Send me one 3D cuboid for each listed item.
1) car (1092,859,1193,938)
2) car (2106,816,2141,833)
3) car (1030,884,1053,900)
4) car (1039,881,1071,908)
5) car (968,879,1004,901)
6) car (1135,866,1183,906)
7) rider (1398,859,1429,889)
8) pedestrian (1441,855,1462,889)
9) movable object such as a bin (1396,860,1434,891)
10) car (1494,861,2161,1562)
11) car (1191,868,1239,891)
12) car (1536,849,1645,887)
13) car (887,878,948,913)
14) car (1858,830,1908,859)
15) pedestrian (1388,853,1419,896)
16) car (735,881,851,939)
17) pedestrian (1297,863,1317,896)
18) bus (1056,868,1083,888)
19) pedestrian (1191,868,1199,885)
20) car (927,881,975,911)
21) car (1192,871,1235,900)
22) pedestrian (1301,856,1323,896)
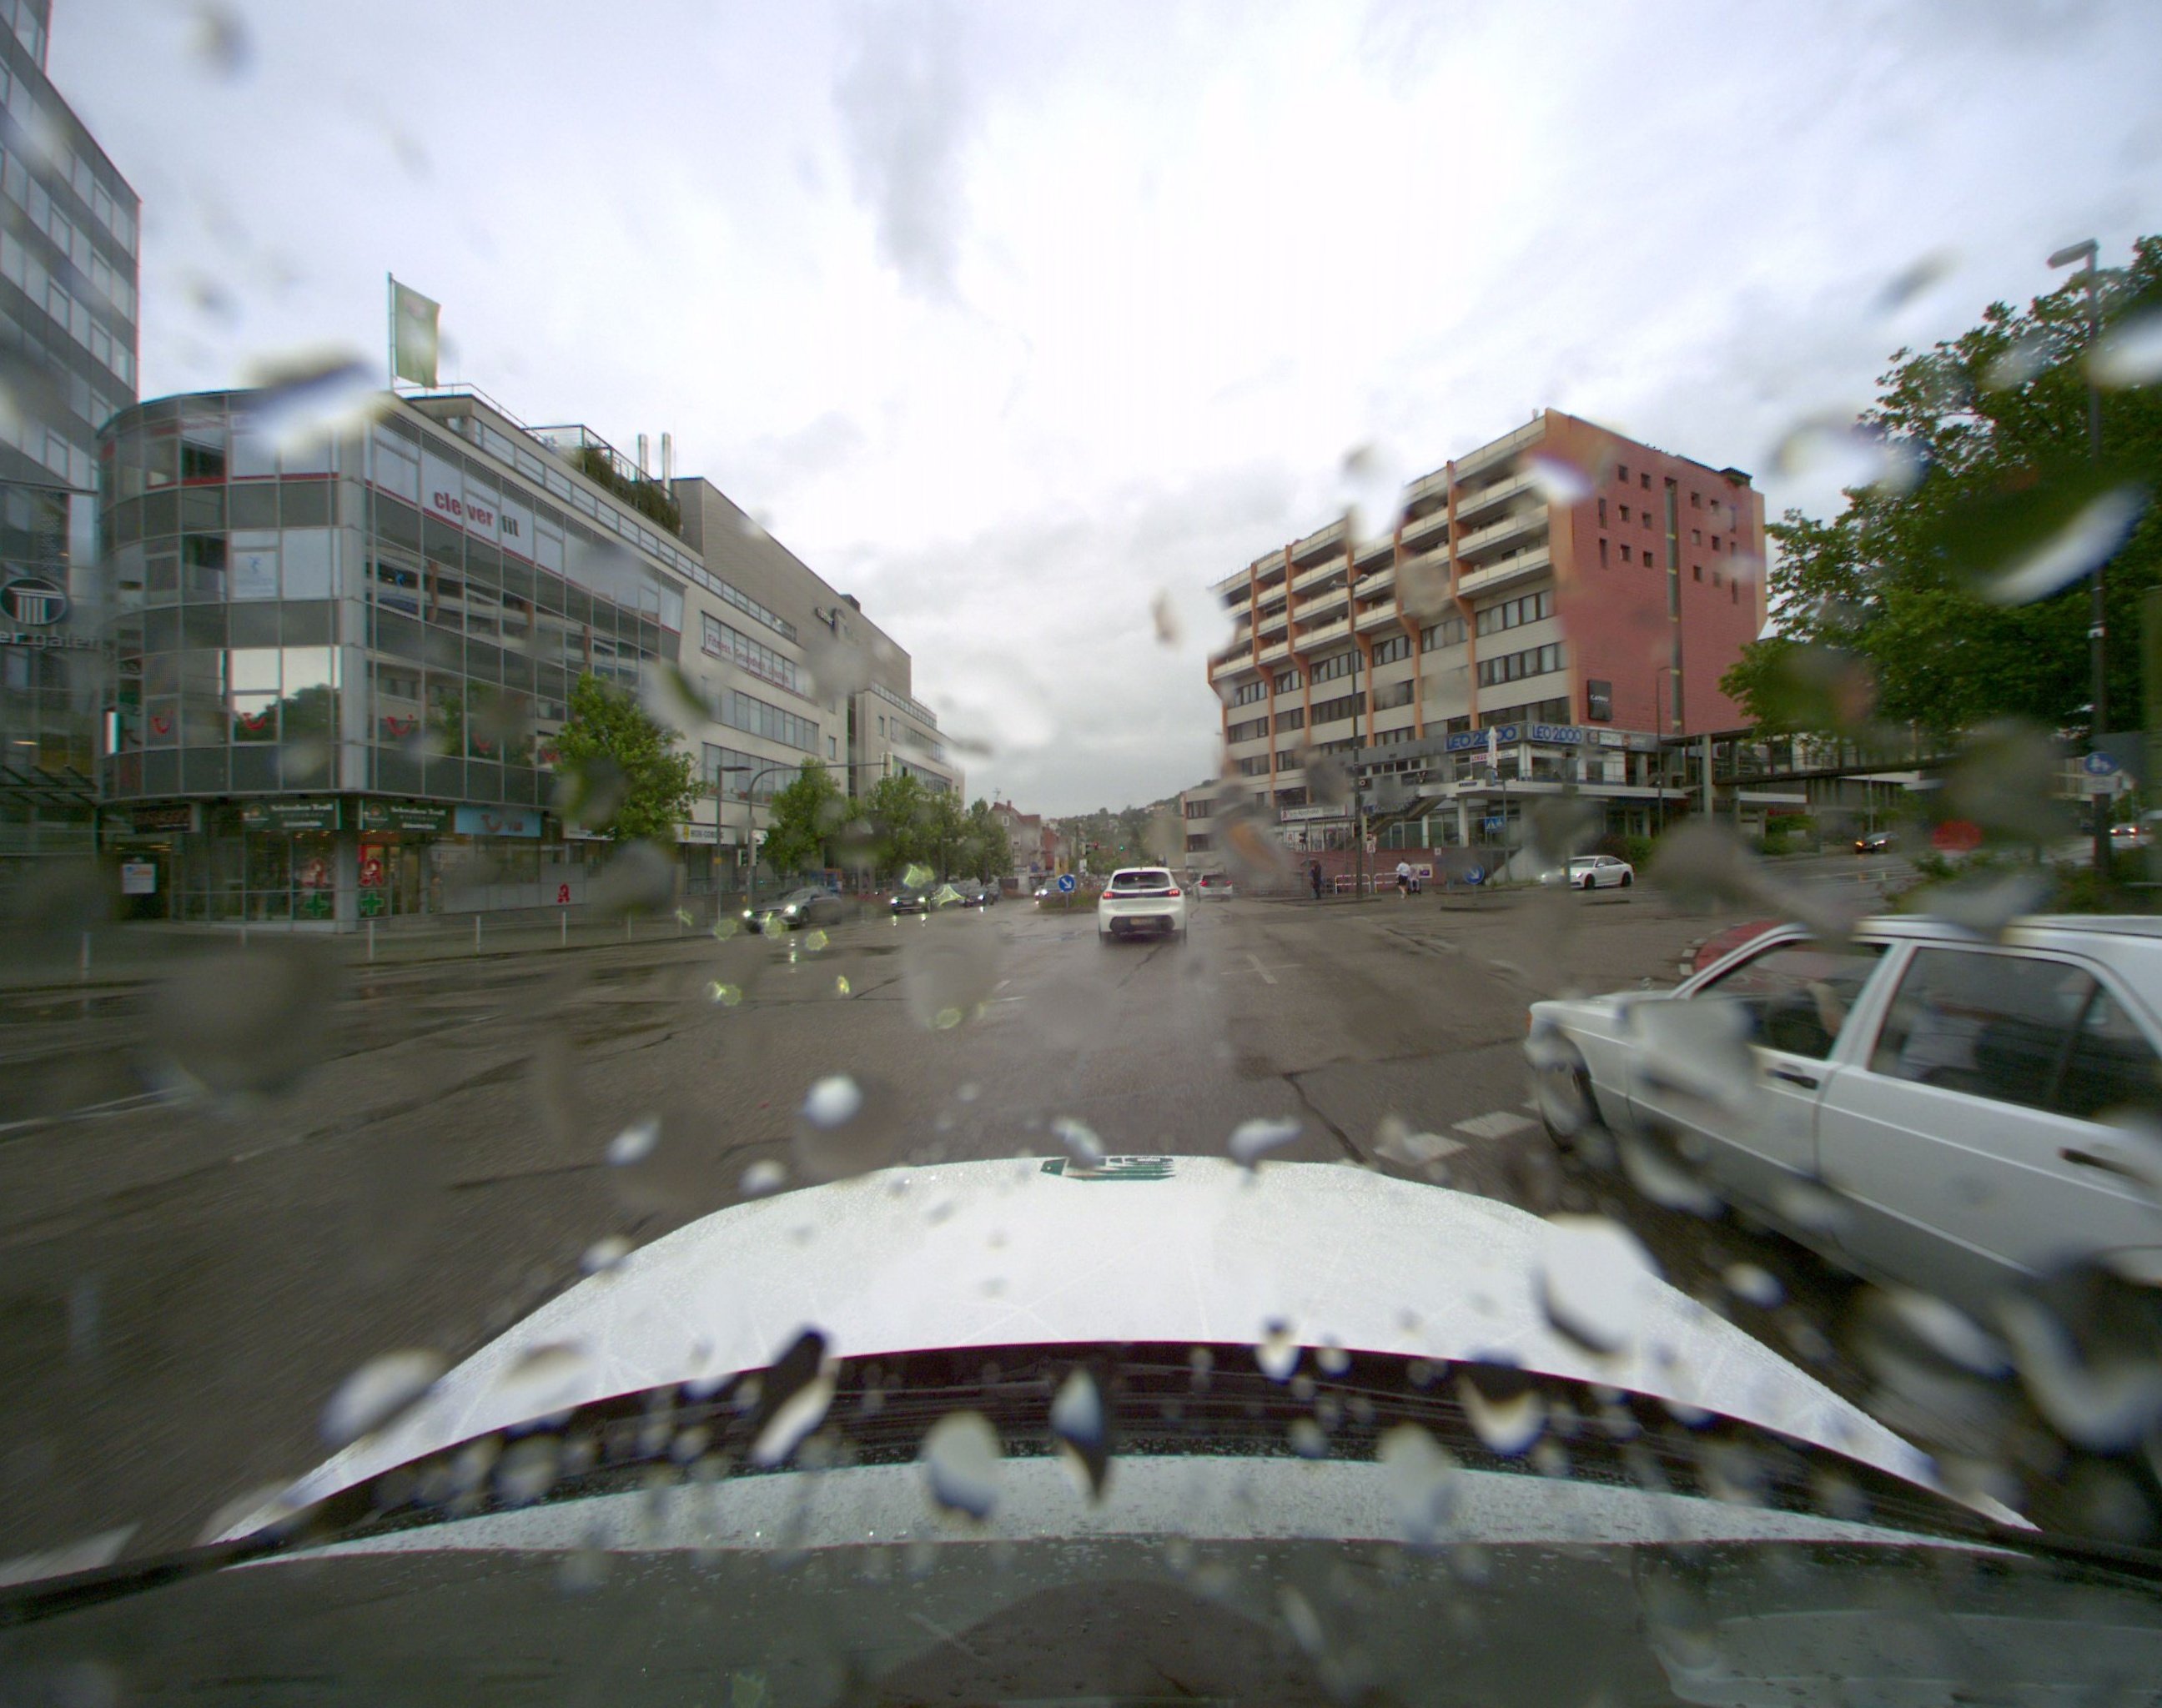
[{"bbox_3d":[1.409,0.845,17.060,1.861,1.462,3.881,0,-1,8],"label":"car"},{"bbox_3d":[120.062,-3.364,93.802,4.009,1.807,1.700,-1,-2,-28],"label":"car"},{"bbox_3d":[-3.740,3.645,77.957,1.718,1.388,4.458,-3,-2,3],"label":"car"},{"bbox_3d":[-1.913,3.061,61.245,1.986,1.824,4.300,-4,-3,3],"label":"car"},{"bbox_3d":[-6.707,2.530,57.808,1.718,1.388,4.604,-3,-2,3],"label":"car"},{"bbox_3d":[3.441,1.357,35.445,1.805,1.530,3.821,-4,-1,8],"label":"car"},{"bbox_3d":[15.274,0.889,37.422,0.918,1.284,1.092,-4,0,4],"label":"rider"},{"bbox_3d":[18.718,0.895,41.151,0.787,1.669,0.935,-2,-1,18],"label":"pedestrian"},{"bbox_3d":[15.339,1.011,37.453,1.125,1.332,1.456,-4,-3,4],"label":"movable object such as a bin"},{"bbox_3d":[3.186,0.769,2.848,1.626,1.448,4.274,0,0,5],"label":"car"},{"bbox_3d":[13.749,2.651,83.715,2.007,2.227,4.925,-1,-1,-32],"label":"car"},{"bbox_3d":[21.809,0.590,34.826,4.803,1.406,1.795,-2,-2,-29],"label":"car"},{"bbox_3d":[-8.689,2.155,43.695,1.867,1.594,4.530,-5,-2,5],"label":"car"},{"bbox_3d":[60.498,-0.733,61.404,4.018,2.014,1.978,-1,-2,-36],"label":"car"},{"bbox_3d":[13.121,0.817,33.150,0.825,1.691,1.129,-1,-1,3],"label":"pedestrian"},{"bbox_3d":[-9.600,1.829,27.648,1.912,1.632,4.907,-2,-1,3],"label":"car"},{"bbox_3d":[9.632,1.080,34.771,0.704,1.346,0.657,-2,-2,7],"label":"pedestrian"},{"bbox_3d":[-1.682,3.659,124.041,2.924,2.783,9.519,-3,-1,6],"label":"bus"},{"bbox_3d":[12.195,2.432,87.172,0.643,1.823,0.577,-1,-2,-29],"label":"pedestrian"},{"bbox_3d":[-8.115,2.619,51.361,1.765,1.594,4.594,-5,-2,5],"label":"car"},{"bbox_3d":[6.810,1.596,42.292,1.903,1.400,3.461,-1,-1,4],"label":"car"},{"bbox_3d":[9.660,0.921,34.030,0.704,1.607,0.657,-4,-2,7],"label":"pedestrian"}]
